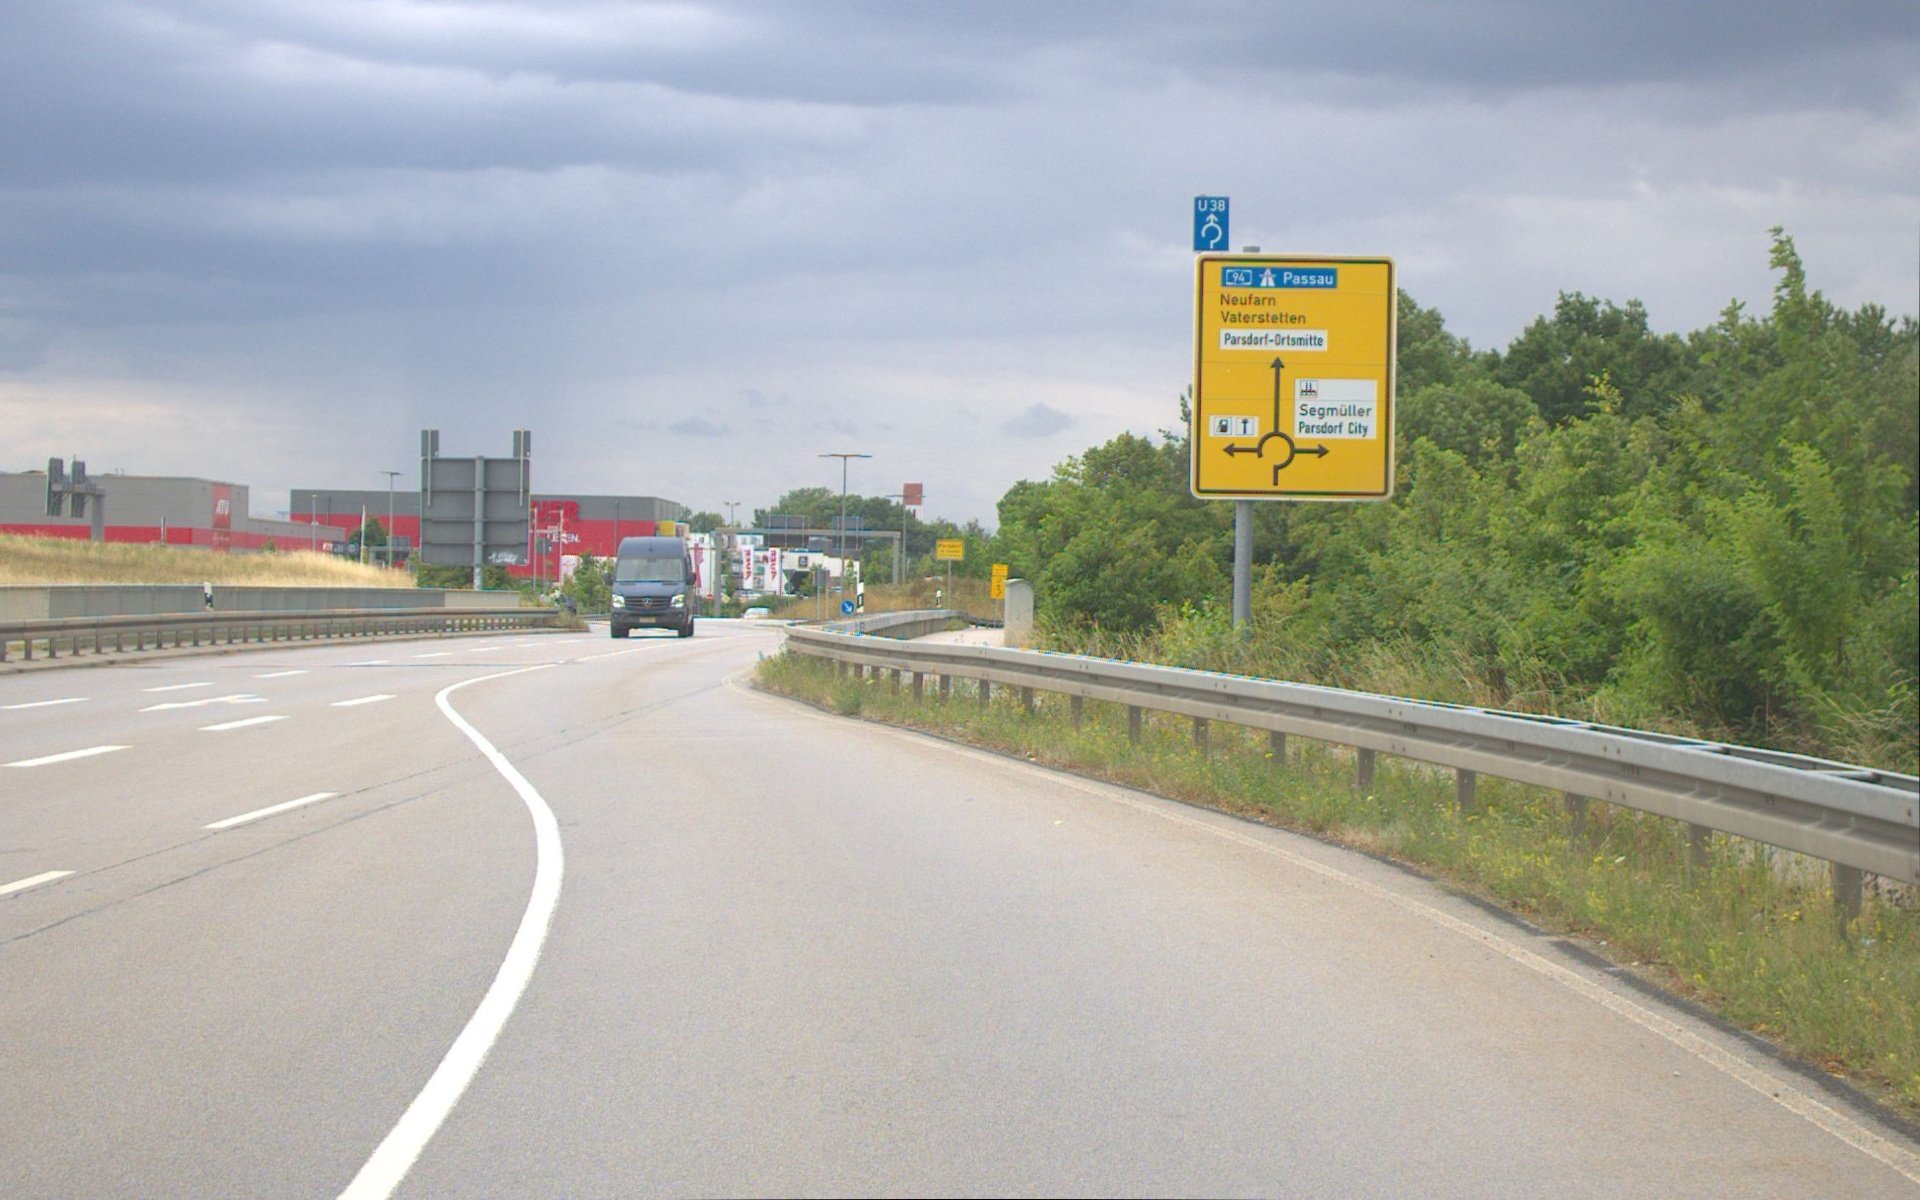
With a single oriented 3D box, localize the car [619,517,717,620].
[{"bbox_3d":[-7.563,-0.815,89.453,1.993,2.583,6.004,1,0,0],"label":"car"}]
